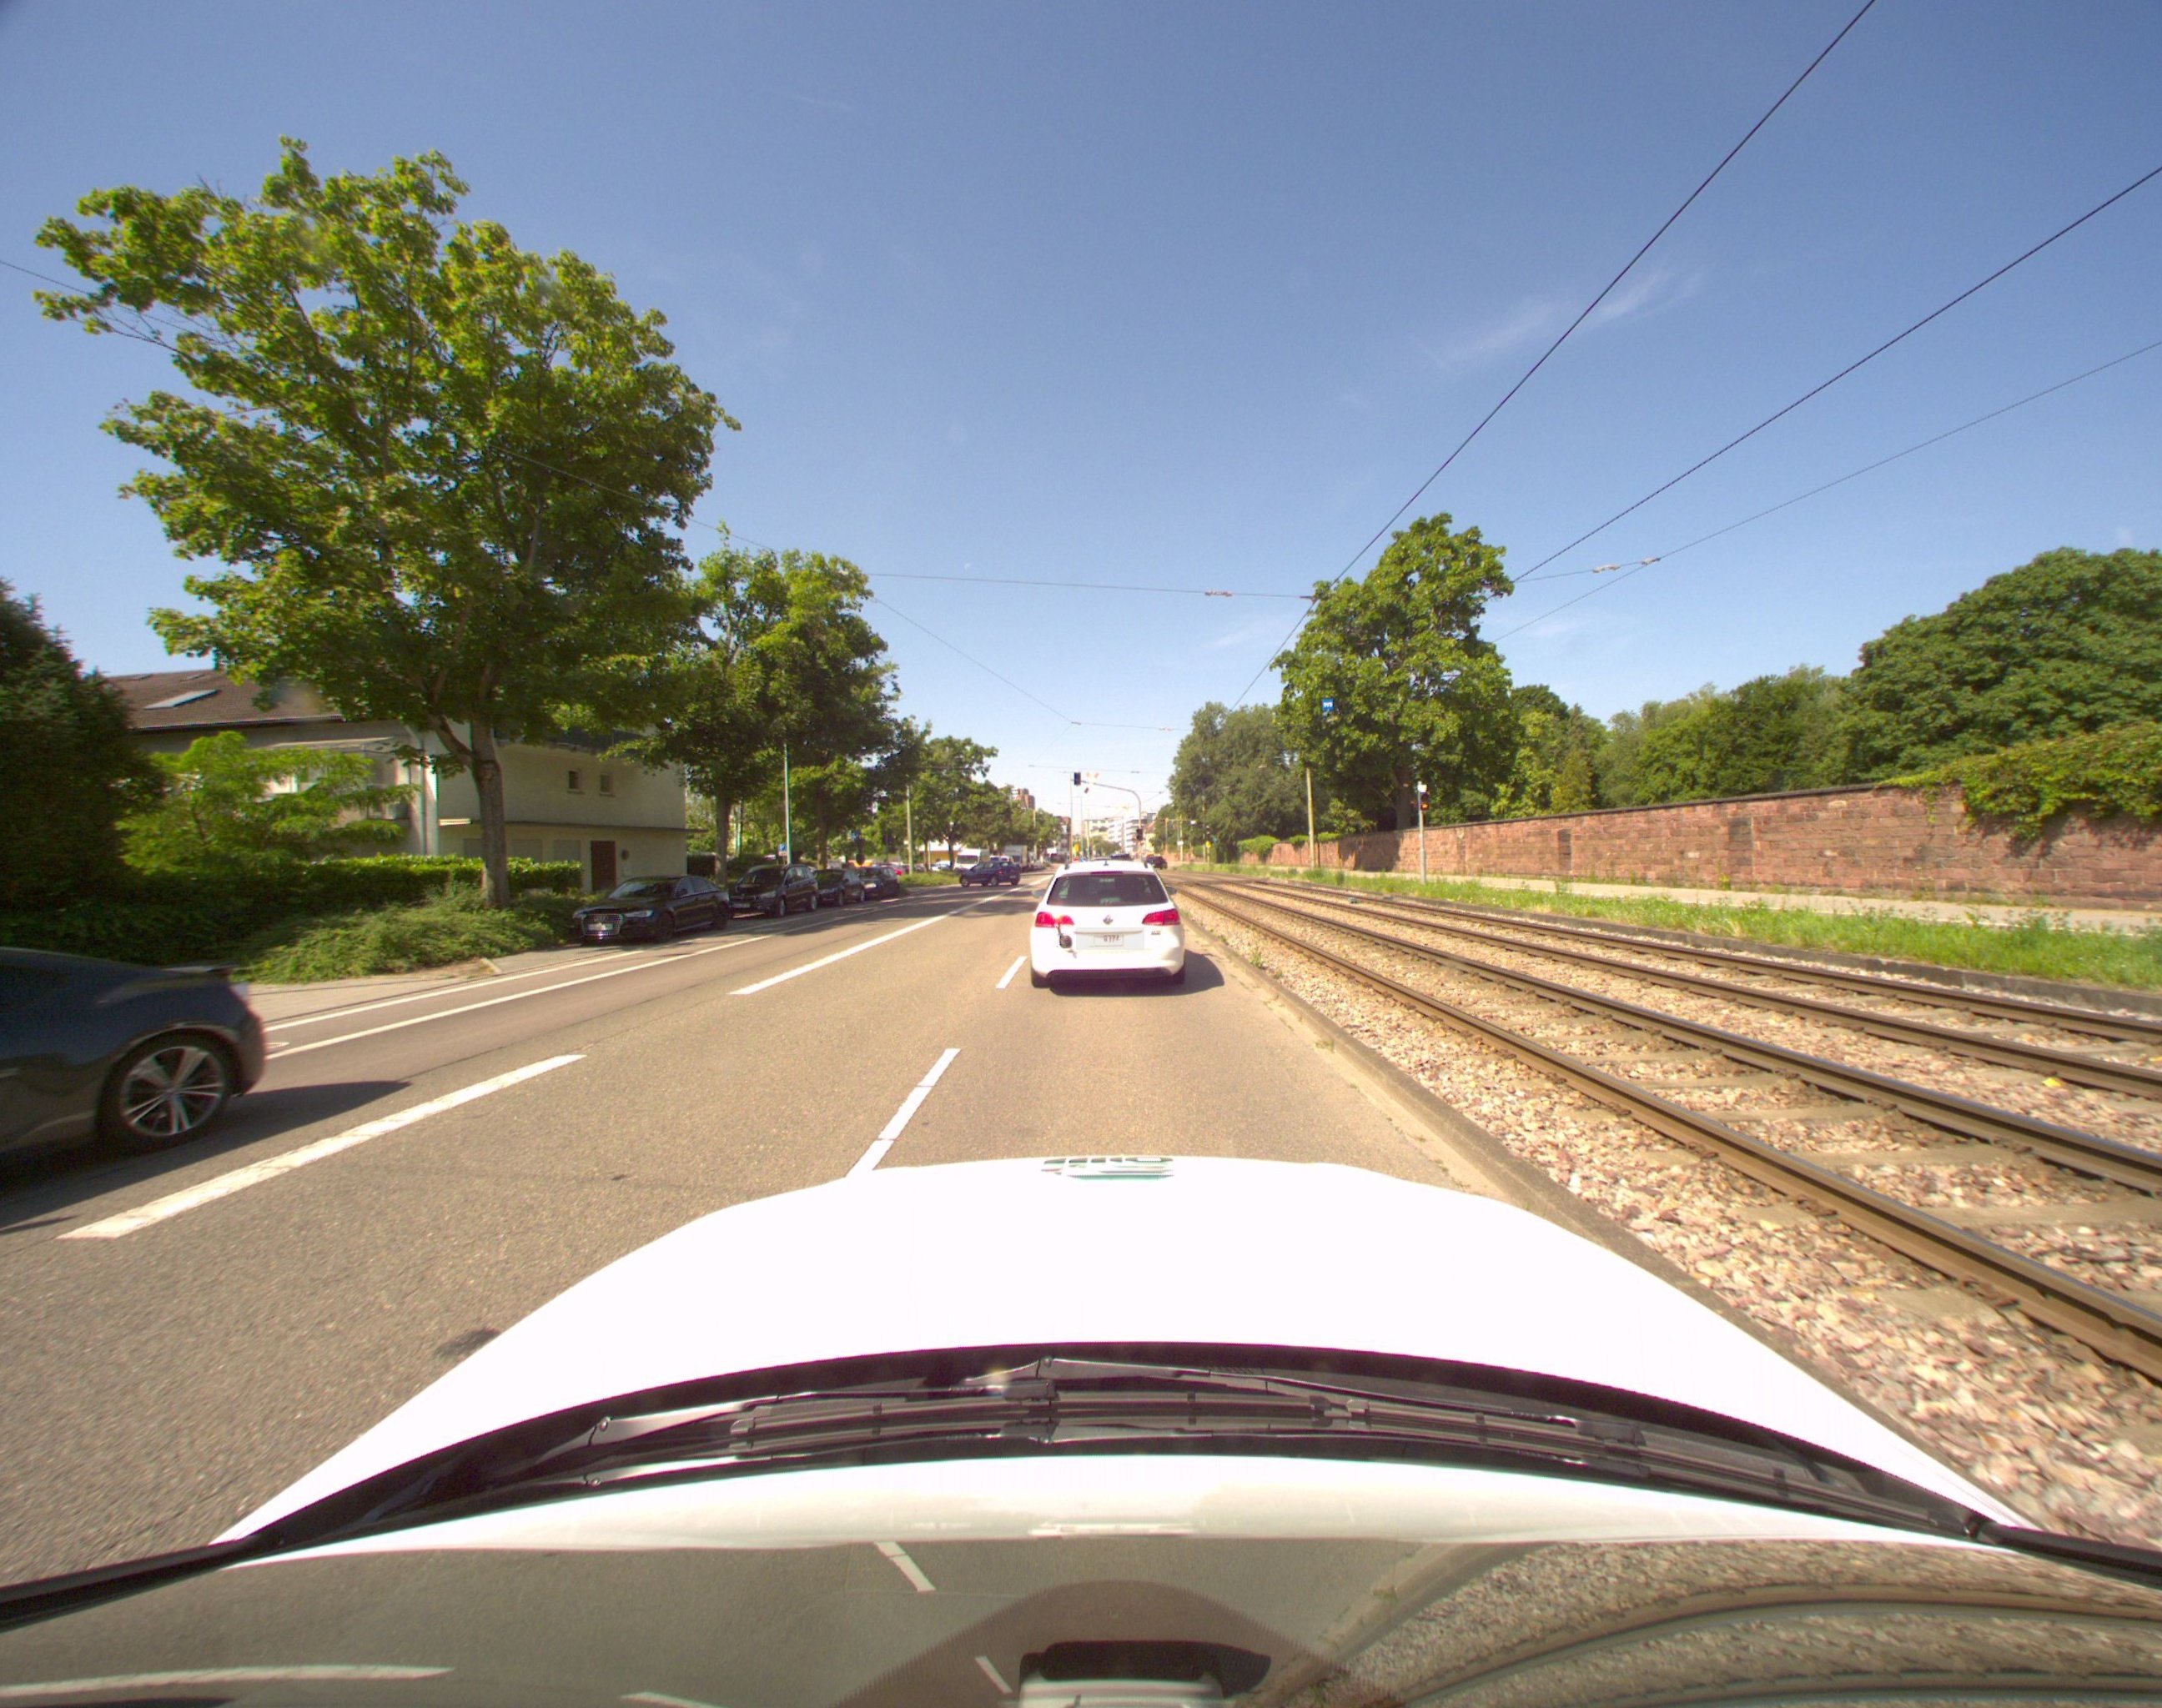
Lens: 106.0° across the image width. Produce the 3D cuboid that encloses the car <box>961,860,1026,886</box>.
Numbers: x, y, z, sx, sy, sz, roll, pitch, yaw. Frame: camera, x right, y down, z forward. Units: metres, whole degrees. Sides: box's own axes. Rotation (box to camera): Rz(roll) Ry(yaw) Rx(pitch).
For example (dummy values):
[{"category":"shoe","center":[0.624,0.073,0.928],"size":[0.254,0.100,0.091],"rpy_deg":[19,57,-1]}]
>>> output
[{"category":"car","center":[-5.065,1.052,46.870],"size":[1.761,1.407,3.865],"rpy_deg":[-1,0,-43]}]

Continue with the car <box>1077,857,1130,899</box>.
[{"category":"car","center":[0.795,0.801,28.862],"size":[1.739,1.388,3.914],"rpy_deg":[0,0,1]}]

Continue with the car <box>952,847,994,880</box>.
[{"category":"car","center":[-8.781,0.727,66.749],"size":[2.049,2.501,6.315],"rpy_deg":[1,0,4]}]

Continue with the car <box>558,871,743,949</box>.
[{"category":"car","center":[-9.916,1.201,19.294],"size":[1.835,1.465,4.907],"rpy_deg":[-2,0,-2]}]

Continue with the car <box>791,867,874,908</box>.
[{"category":"car","center":[-9.684,1.249,32.124],"size":[1.684,1.379,4.784],"rpy_deg":[-2,0,1]}]

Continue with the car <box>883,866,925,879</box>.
[{"category":"car","center":[-18.709,1.933,86.171],"size":[3.969,1.225,1.773],"rpy_deg":[-2,0,4]}]

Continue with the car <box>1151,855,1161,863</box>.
[{"category":"car","center":[14.229,0.942,154.323],"size":[1.576,1.346,3.455],"rpy_deg":[0,-1,1]}]

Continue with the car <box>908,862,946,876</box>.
[{"category":"car","center":[-18.123,1.802,95.969],"size":[3.969,1.444,1.773],"rpy_deg":[-2,0,4]}]

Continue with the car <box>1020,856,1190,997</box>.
[{"category":"car","center":[0.284,0.757,10.376],"size":[1.762,1.446,3.913],"rpy_deg":[0,0,1]}]

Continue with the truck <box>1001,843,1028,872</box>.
[{"category":"truck","center":[-7.754,0.386,95.158],"size":[2.348,3.122,6.892],"rpy_deg":[-2,0,1]}]

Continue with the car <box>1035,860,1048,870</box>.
[{"category":"car","center":[-6.316,1.801,130.704],"size":[1.774,1.433,4.039],"rpy_deg":[-2,0,2]}]

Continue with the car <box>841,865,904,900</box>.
[{"category":"car","center":[-9.381,1.233,36.893],"size":[1.635,1.450,4.007],"rpy_deg":[0,0,3]}]

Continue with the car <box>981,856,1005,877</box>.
[{"category":"car","center":[-8.683,1.207,80.646],"size":[1.839,1.937,5.189],"rpy_deg":[-2,0,-2]}]

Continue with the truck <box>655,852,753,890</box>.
[{"category":"truck","center":[-31.723,1.418,68.615],"size":[7.119,3.019,2.231],"rpy_deg":[1,0,-1]}]

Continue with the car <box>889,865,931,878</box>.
[{"category":"car","center":[-18.523,1.909,88.288],"size":[3.969,1.225,1.773],"rpy_deg":[-2,0,4]}]

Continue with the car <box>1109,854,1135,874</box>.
[{"category":"car","center":[3.314,0.771,64.672],"size":[1.852,1.513,3.919],"rpy_deg":[0,0,6]}]

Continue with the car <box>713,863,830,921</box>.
[{"category":"car","center":[-9.783,1.130,26.211],"size":[1.755,1.606,4.895],"rpy_deg":[-1,0,1]}]

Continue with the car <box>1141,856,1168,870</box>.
[{"category":"car","center":[7.400,0.914,82.092],"size":[1.731,1.407,3.933],"rpy_deg":[0,0,20]}]

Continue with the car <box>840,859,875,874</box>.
[{"category":"car","center":[-30.646,1.749,111.768],"size":[4.249,2.014,1.997],"rpy_deg":[0,-1,-5]}]

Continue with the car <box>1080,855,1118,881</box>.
[{"category":"car","center":[1.109,0.792,47.598],"size":[1.852,1.416,4.332],"rpy_deg":[0,0,6]}]

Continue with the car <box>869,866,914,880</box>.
[{"category":"car","center":[-18.858,1.862,81.264],"size":[3.969,1.225,1.773],"rpy_deg":[-2,0,4]}]

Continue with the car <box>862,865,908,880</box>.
[{"category":"car","center":[-18.957,1.816,78.791],"size":[3.969,1.264,1.773],"rpy_deg":[-2,0,4]}]

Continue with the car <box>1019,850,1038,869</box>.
[{"category":"car","center":[-7.099,0.761,110.274],"size":[1.836,2.494,5.859],"rpy_deg":[-2,0,2]}]

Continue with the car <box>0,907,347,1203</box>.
[{"category":"car","center":[-5.840,1.043,3.413],"size":[1.681,1.244,4.065],"rpy_deg":[-5,0,1]}]

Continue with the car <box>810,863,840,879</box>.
[{"category":"car","center":[-33.539,2.198,106.661],"size":[3.412,1.876,1.552],"rpy_deg":[-2,0,-1]}]

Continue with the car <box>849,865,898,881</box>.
[{"category":"car","center":[-19.417,1.784,76.237],"size":[3.969,1.350,1.773],"rpy_deg":[-2,0,4]}]

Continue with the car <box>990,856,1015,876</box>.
[{"category":"car","center":[-8.231,1.218,86.032],"size":[1.836,1.960,5.136],"rpy_deg":[-2,0,2]}]

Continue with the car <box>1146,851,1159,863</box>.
[{"category":"car","center":[15.448,0.730,177.159],"size":[2.454,2.499,5.911],"rpy_deg":[0,-1,1]}]
